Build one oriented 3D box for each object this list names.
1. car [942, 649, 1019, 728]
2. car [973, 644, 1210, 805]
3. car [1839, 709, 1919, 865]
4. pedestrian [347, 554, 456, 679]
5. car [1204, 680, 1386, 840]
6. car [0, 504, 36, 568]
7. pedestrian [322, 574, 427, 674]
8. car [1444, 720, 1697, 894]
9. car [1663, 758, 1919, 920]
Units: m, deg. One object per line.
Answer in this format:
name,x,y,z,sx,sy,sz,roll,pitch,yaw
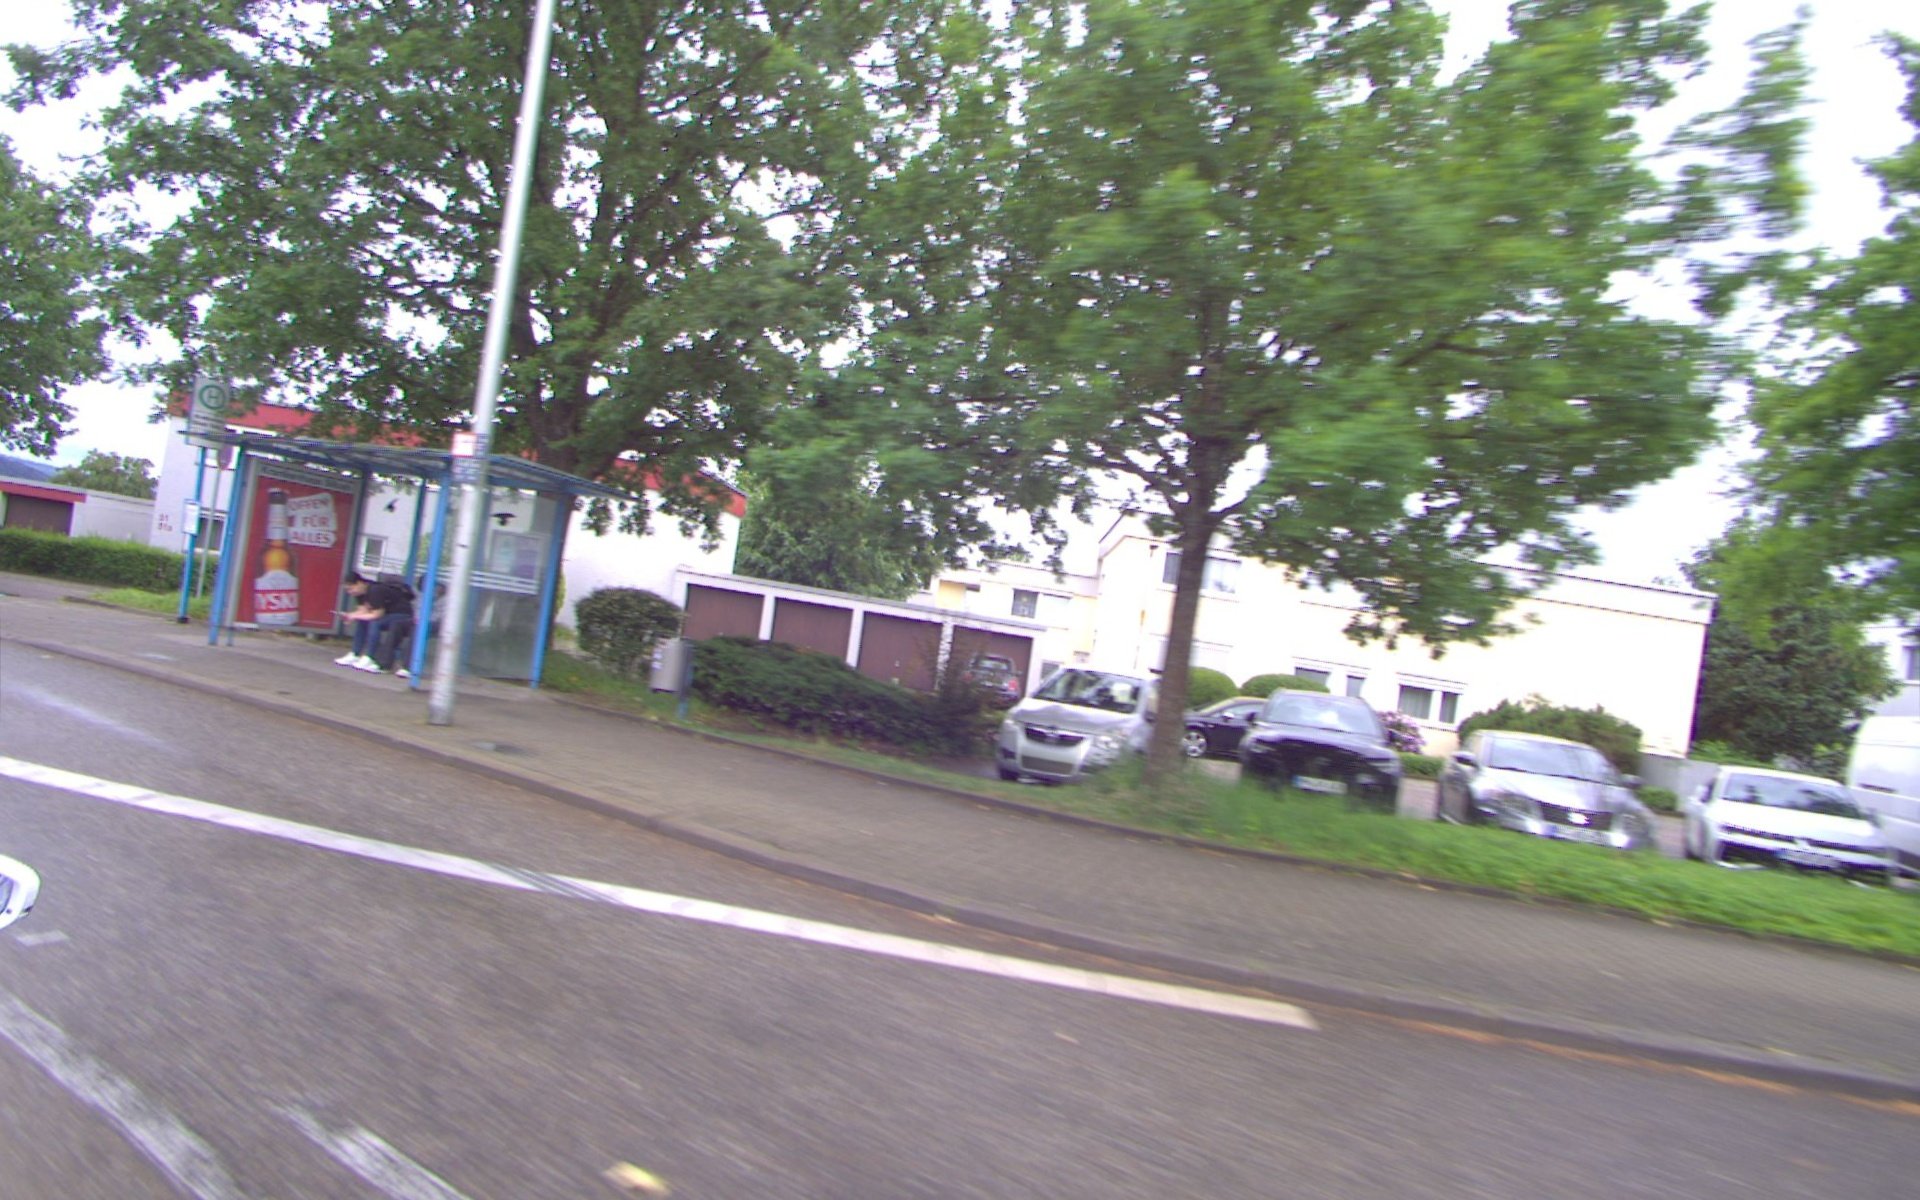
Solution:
car,0.516,2.293,26.923,1.730,1.552,3.621,8,1,0
car,1.809,1.530,12.701,1.729,1.502,3.658,7,-3,27
car,13.611,2.569,12.882,1.965,2.037,5.837,7,-2,27
pedestrian,-6.135,0.194,11.064,0.542,1.264,0.728,7,-2,29
car,4.446,1.960,12.992,1.728,1.502,3.659,7,-3,25
car,-28.332,-2.045,27.648,1.888,1.740,4.004,8,-2,2
pedestrian,-6.672,0.286,11.483,0.542,1.023,0.751,7,-2,29
car,7.035,2.292,12.047,1.701,1.352,4.047,7,-3,20
car,10.670,2.947,13.109,1.819,1.310,4.000,7,-3,27
